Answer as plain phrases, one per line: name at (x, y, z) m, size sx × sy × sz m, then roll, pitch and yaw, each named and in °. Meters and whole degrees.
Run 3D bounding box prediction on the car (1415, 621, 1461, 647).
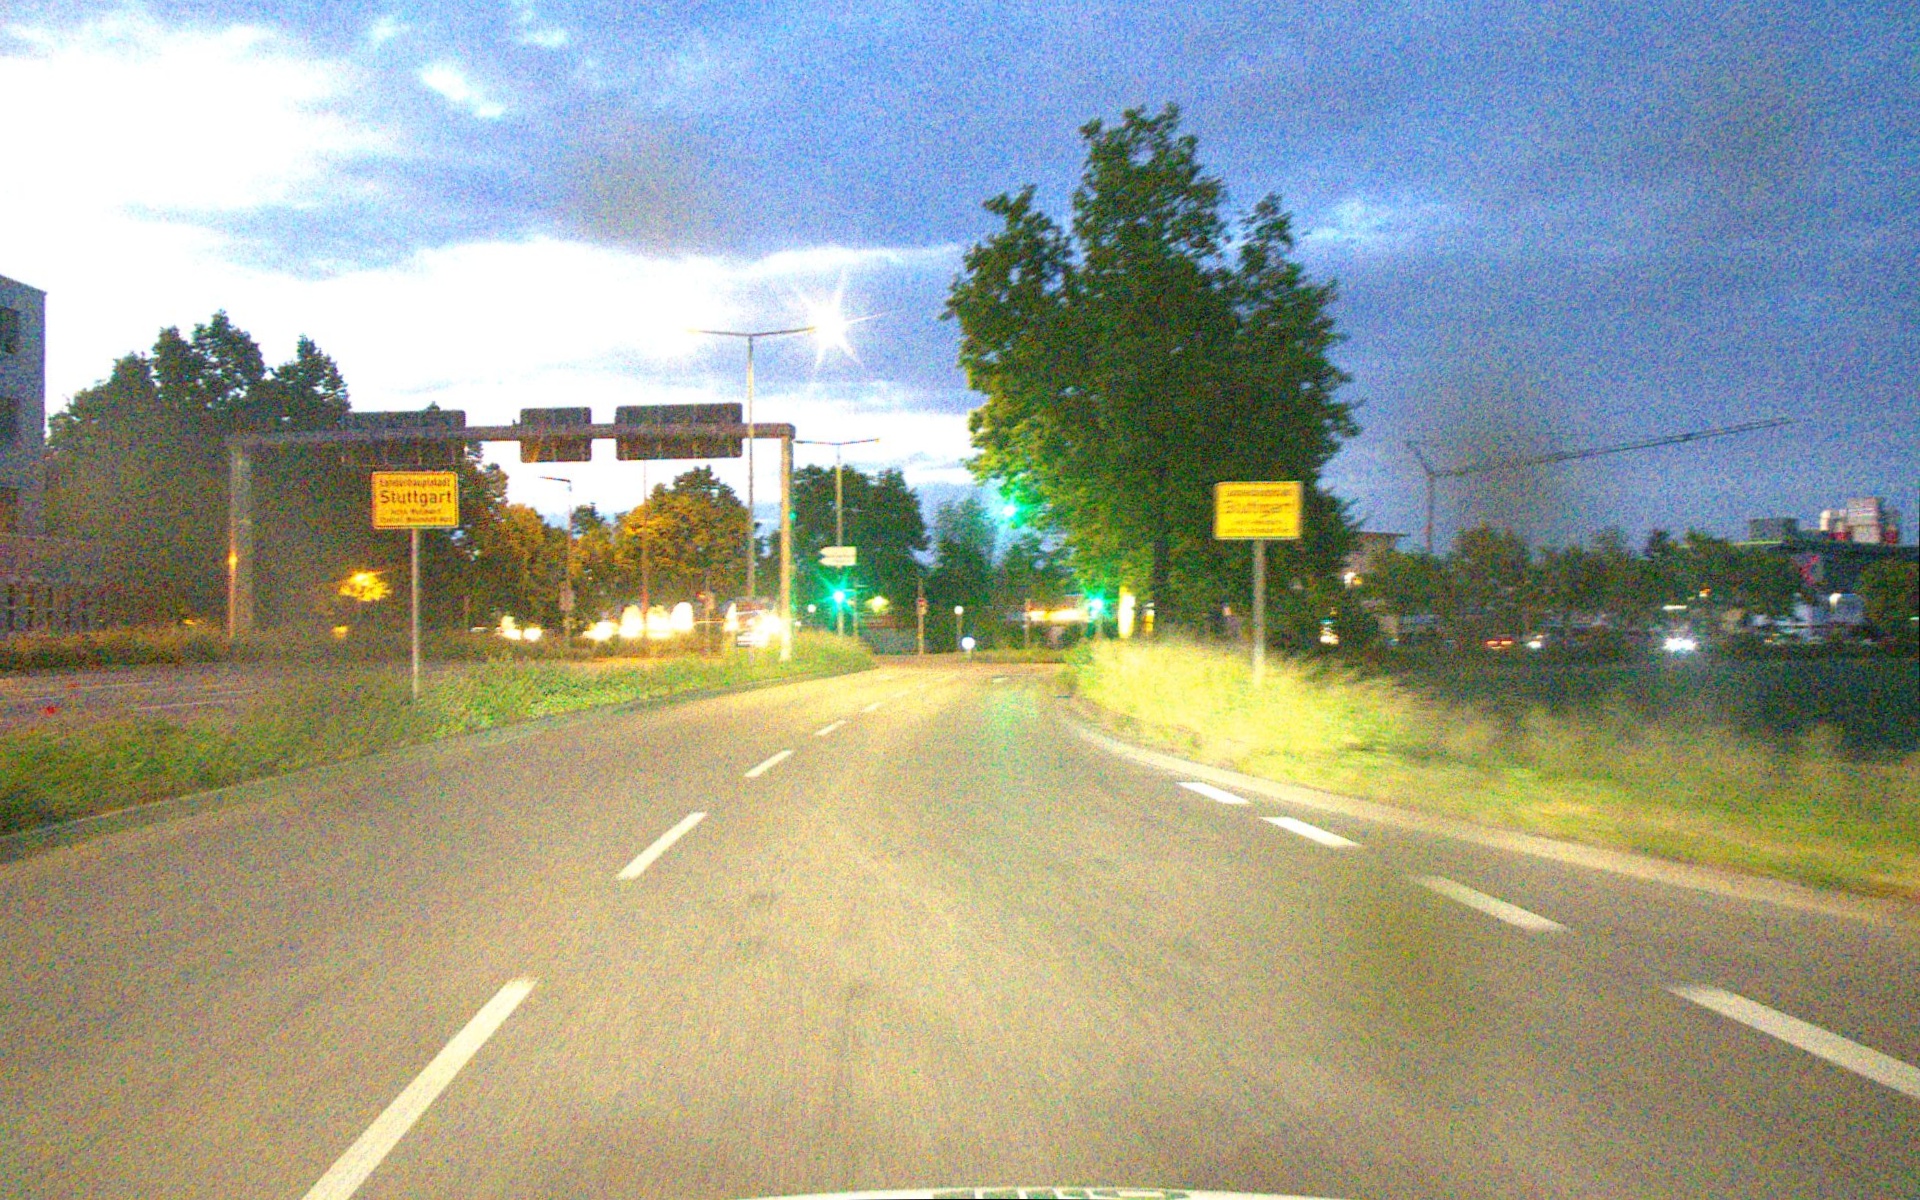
car at (41.720, 2.961, 144.350) m, size 3.963 × 2.049 × 1.971 m, roll -1°, pitch 1°, yaw -41°
